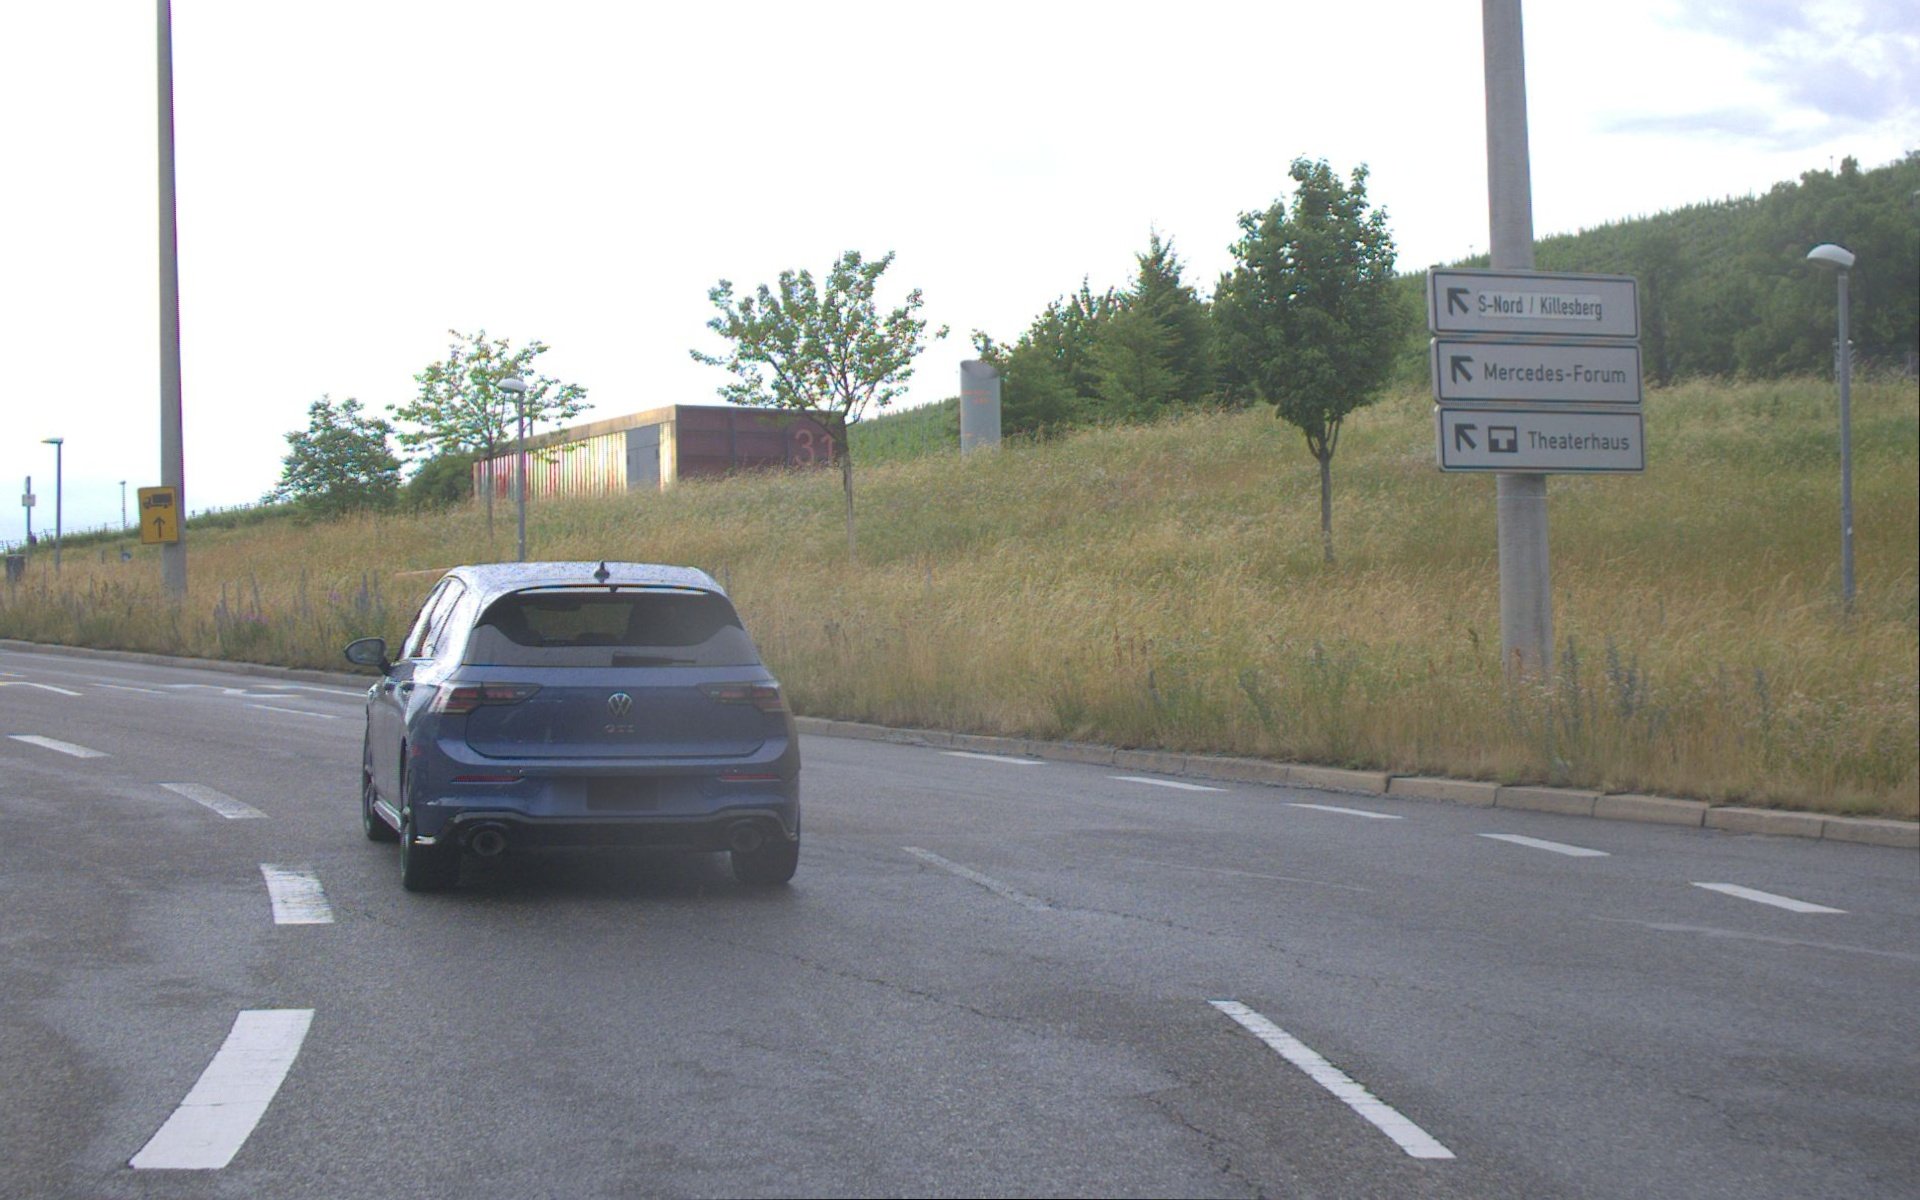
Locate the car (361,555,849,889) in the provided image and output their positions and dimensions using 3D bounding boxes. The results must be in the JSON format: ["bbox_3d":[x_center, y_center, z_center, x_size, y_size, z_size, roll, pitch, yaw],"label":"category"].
[{"bbox_3d":[-1.826,0.488,16.476,1.837,1.389,4.001,0,1,-13],"label":"car"}]
